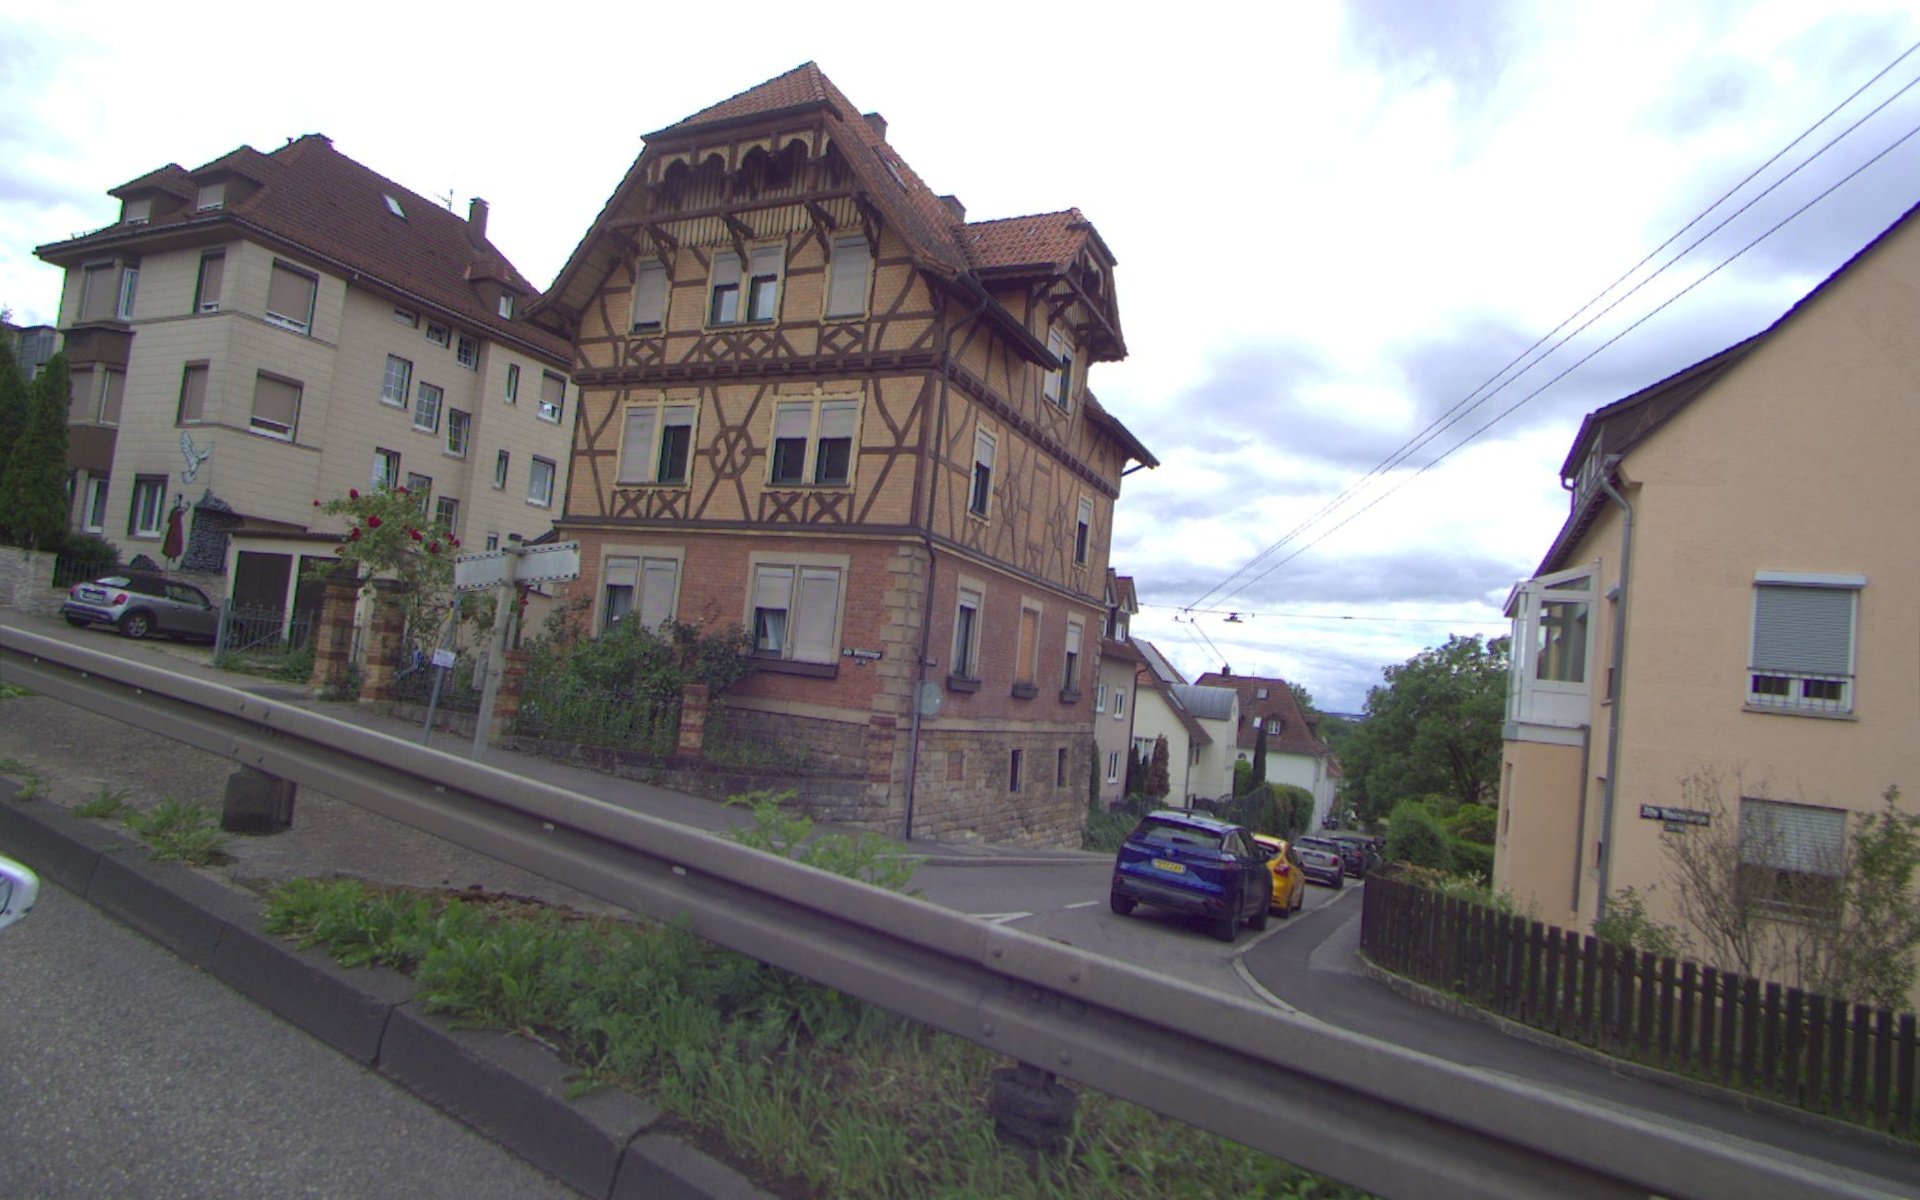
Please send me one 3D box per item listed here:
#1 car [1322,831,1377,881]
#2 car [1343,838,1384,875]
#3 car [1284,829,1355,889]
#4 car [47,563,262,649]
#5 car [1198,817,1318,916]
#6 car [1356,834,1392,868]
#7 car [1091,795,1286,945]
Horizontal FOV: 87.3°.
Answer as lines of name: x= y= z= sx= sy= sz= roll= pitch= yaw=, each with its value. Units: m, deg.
car: x=16.528 y=10.821 z=42.561 sx=1.759 sy=1.585 sz=4.016 roll=8 pitch=-10 yaw=26
car: x=22.224 y=14.101 z=55.316 sx=1.759 sy=1.585 sz=4.016 roll=8 pitch=-10 yaw=26
car: x=11.695 y=8.382 z=32.614 sx=1.683 sy=1.416 sz=3.909 roll=8 pitch=-10 yaw=26
car: x=-19.147 y=0.203 z=24.120 sx=1.672 sy=1.449 sz=3.625 roll=7 pitch=-5 yaw=12
car: x=6.261 y=5.478 z=20.835 sx=1.647 sy=1.472 sz=4.016 roll=8 pitch=-10 yaw=26
car: x=27.903 y=16.896 z=67.833 sx=1.964 sy=1.815 sz=4.016 roll=7 pitch=-9 yaw=24
car: x=3.686 y=4.129 z=15.617 sx=1.965 sy=1.585 sz=4.016 roll=8 pitch=-10 yaw=26
